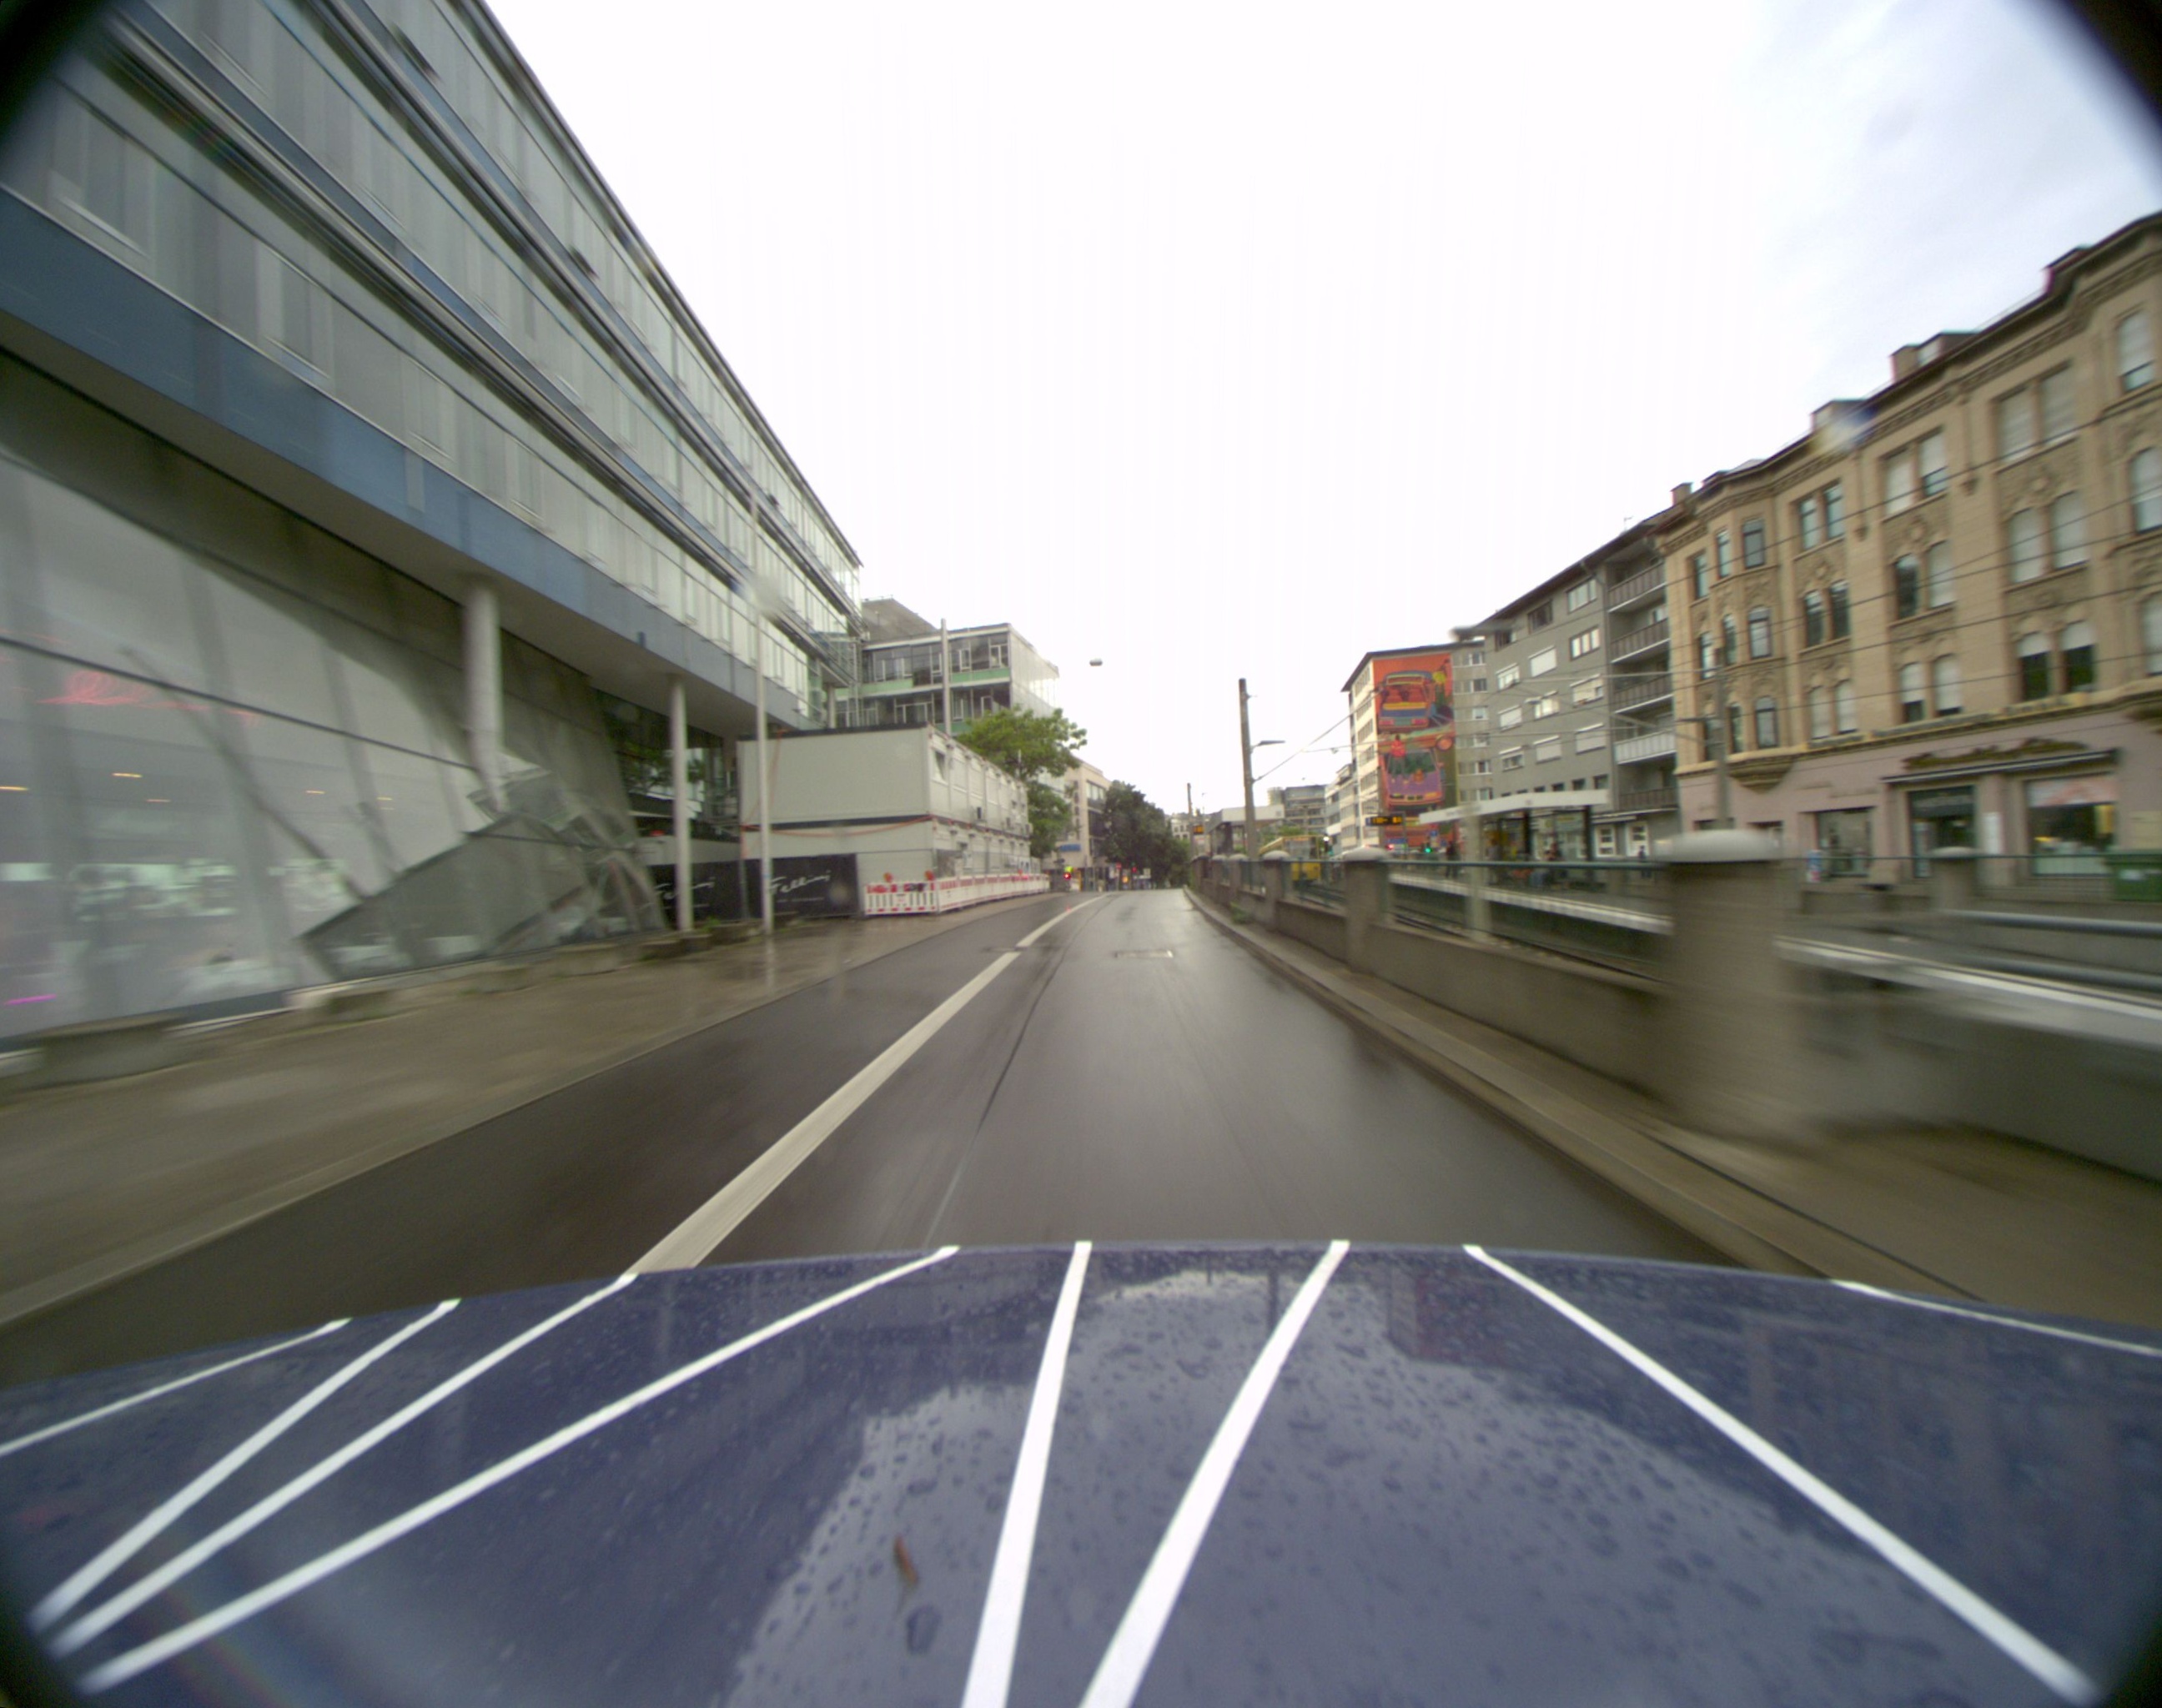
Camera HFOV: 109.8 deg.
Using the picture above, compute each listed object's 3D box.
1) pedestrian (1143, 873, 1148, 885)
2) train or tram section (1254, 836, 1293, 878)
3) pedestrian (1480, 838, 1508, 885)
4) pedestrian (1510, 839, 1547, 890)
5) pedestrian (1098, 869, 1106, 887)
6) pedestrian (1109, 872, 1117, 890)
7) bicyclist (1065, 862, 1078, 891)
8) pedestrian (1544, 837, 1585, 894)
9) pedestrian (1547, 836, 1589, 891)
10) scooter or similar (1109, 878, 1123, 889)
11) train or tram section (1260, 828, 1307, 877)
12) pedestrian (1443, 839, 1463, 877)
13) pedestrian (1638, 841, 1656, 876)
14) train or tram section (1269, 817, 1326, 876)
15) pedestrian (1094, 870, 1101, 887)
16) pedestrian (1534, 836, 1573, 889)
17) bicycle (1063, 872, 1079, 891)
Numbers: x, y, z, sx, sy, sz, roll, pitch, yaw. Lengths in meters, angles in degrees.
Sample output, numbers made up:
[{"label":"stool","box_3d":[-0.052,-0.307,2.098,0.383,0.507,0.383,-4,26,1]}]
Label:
[{"label":"pedestrian","box_3d":[8.761,3.382,102.865,0.559,1.613,0.485,-4,-4,12]},{"label":"train or tram section","box_3d":[19.012,0.395,75.571,2.784,3.668,9.521,-4,-3,9]},{"label":"pedestrian","box_3d":[14.869,0.265,27.360,0.634,1.650,0.683,-3,-1,10]},{"label":"pedestrian","box_3d":[15.088,0.352,25.648,0.773,1.639,0.778,3,0,11]},{"label":"pedestrian","box_3d":[2.060,2.441,76.025,0.720,1.750,0.959,-2,-2,2]},{"label":"pedestrian","box_3d":[3.242,2.745,76.538,0.720,1.750,0.959,-2,-2,2]},{"label":"bicyclist","box_3d":[-0.543,1.307,43.704,0.663,1.629,0.793,2,1,4]},{"label":"pedestrian","box_3d":[14.557,0.336,22.898,0.678,1.639,0.896,3,0,11]},{"label":"pedestrian","box_3d":[15.140,0.305,23.638,0.773,1.639,0.778,3,0,11]},{"label":"scooter or similar","box_3d":[3.777,3.170,81.298,1.385,1.172,0.511,-2,-2,-20]},{"label":"train or tram section","box_3d":[17.483,0.019,66.172,2.784,3.668,9.521,-4,-3,9]},{"label":"pedestrian","box_3d":[15.608,0.171,31.912,0.558,1.528,0.517,-2,-1,7]},{"label":"pedestrian","box_3d":[27.708,0.209,37.215,0.422,1.672,0.608,-4,-1,17]},{"label":"train or tram section","box_3d":[15.921,-0.376,56.659,2.784,3.668,9.725,-4,-3,9]},{"label":"pedestrian","box_3d":[1.653,2.490,76.759,0.599,1.750,0.846,-2,-2,8]},{"label":"pedestrian","box_3d":[15.219,0.281,24.497,0.773,1.639,0.778,3,0,11]},{"label":"bicycle","box_3d":[-0.573,1.592,43.732,0.663,1.046,2.058,-1,-1,5]}]
